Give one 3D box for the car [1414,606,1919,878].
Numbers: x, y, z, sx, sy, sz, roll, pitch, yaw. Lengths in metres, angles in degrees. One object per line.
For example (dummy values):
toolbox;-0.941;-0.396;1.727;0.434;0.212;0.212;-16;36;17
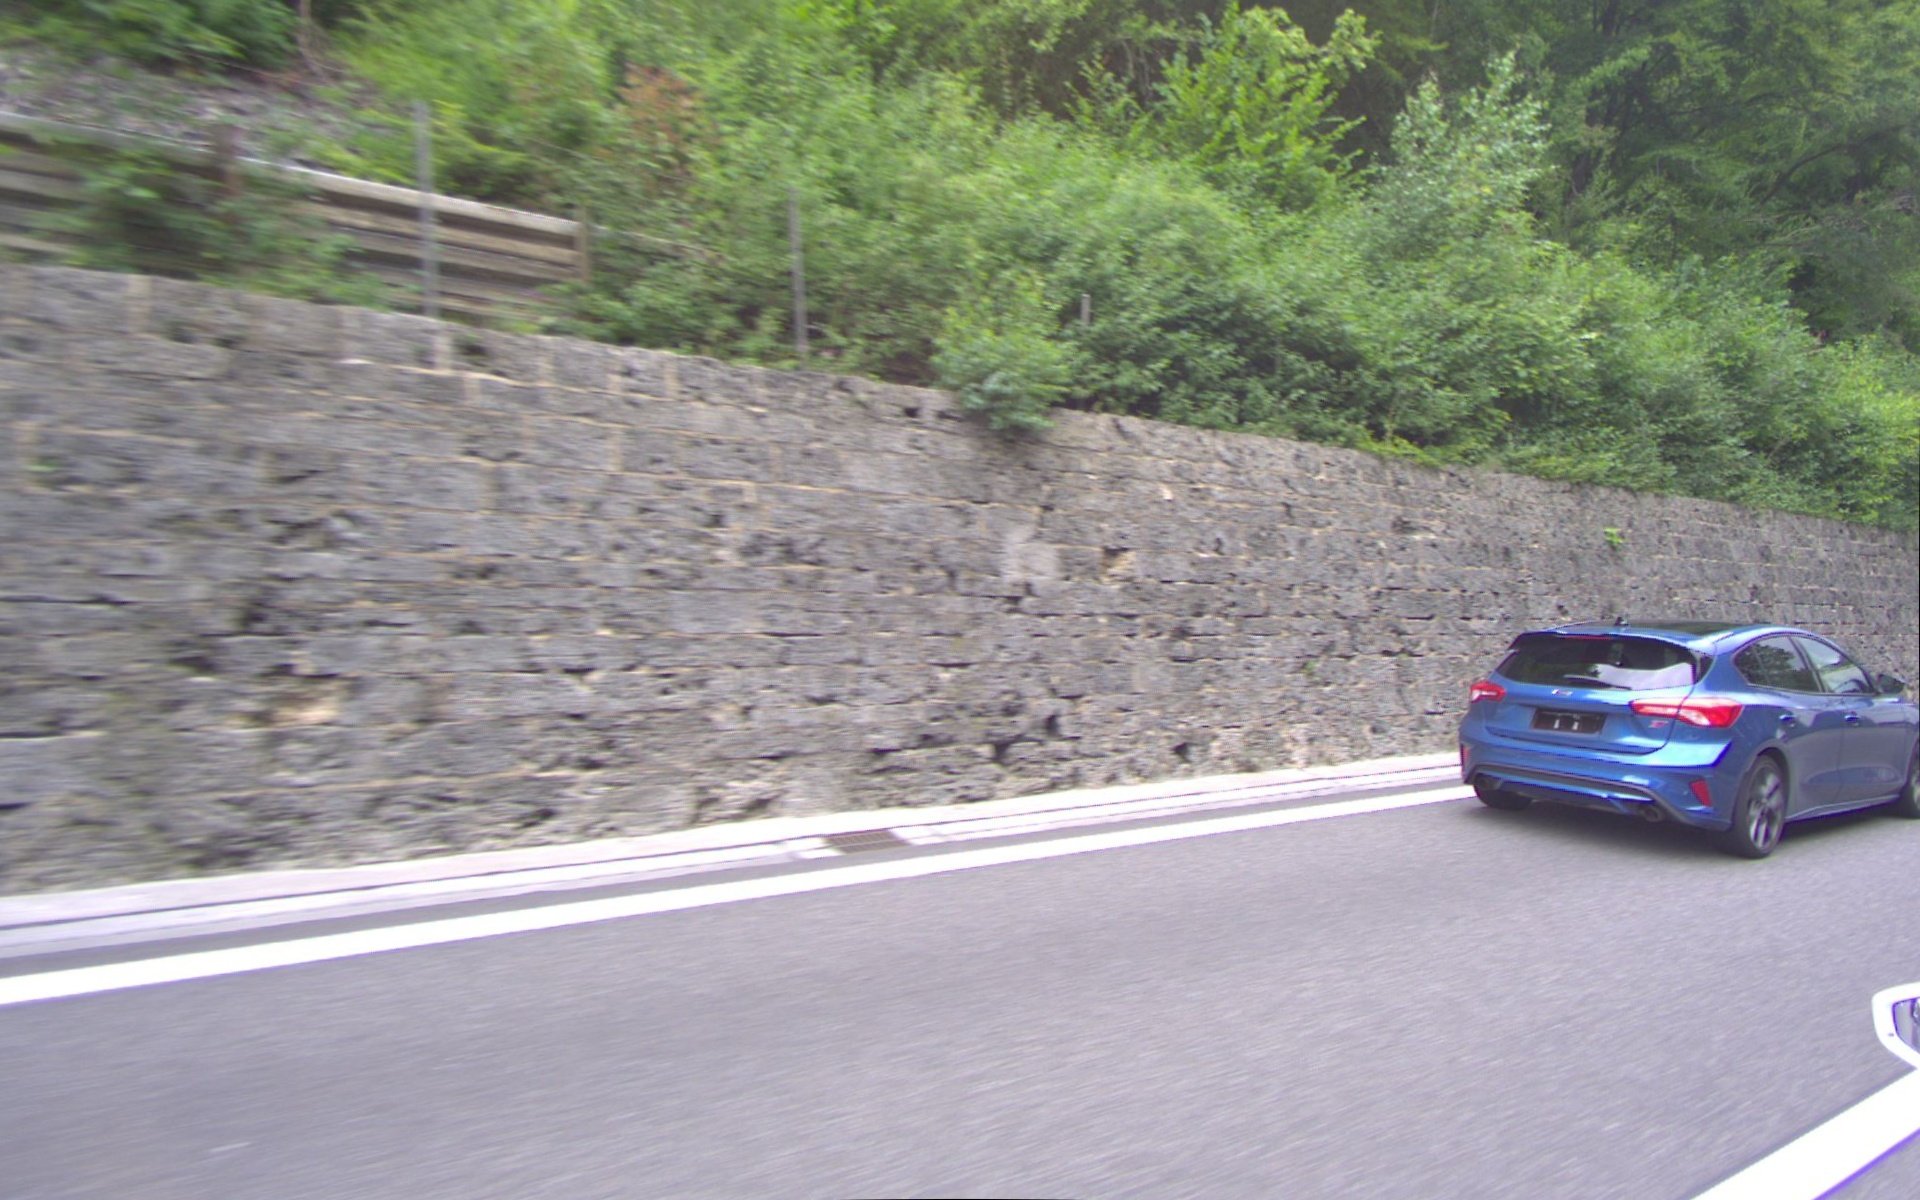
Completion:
car;5.659;0.852;7.570;4.502;1.488;1.827;2;0;-31
